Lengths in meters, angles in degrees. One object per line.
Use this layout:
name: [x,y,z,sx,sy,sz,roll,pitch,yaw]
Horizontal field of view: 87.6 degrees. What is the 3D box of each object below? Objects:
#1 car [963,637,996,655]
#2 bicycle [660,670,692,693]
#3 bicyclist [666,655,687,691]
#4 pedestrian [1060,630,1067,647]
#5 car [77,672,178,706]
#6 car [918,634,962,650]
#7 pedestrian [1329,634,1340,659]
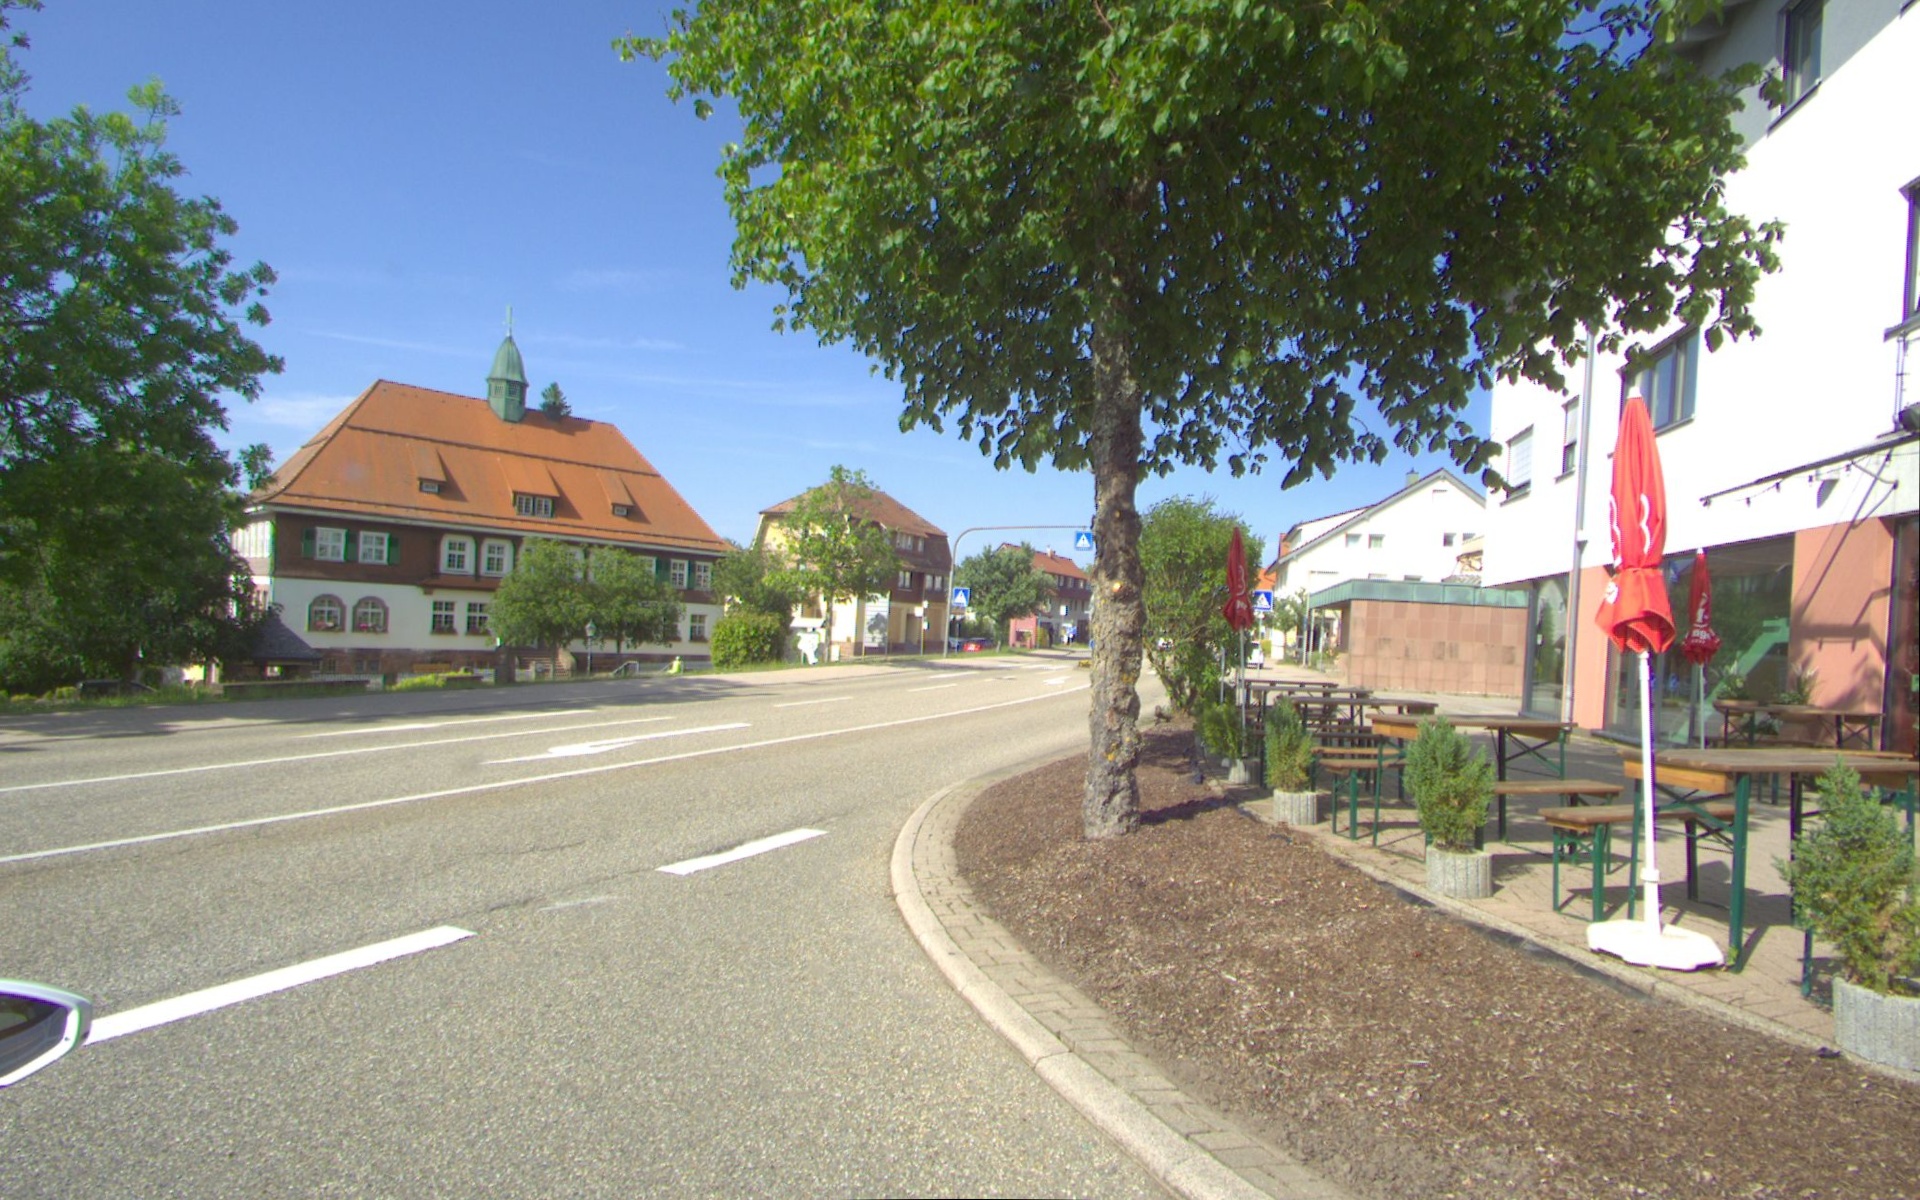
car: [1.615,3.796,82.121,1.744,1.451,3.710,-1,-2,17]
bicycle: [-15.887,4.558,56.107,0.532,1.205,1.714,-1,-2,41]
bicyclist: [-15.873,4.092,56.123,0.575,1.949,0.990,-1,-2,41]
pedestrian: [11.212,4.163,108.259,0.489,1.771,0.587,-1,-1,31]
car: [-41.670,4.420,50.144,1.696,1.463,3.751,-2,-2,44]
car: [-1.852,3.880,92.728,3.648,1.451,1.774,-2,-2,19]
pedestrian: [24.118,2.969,64.499,0.557,1.613,0.484,0,-1,16]
